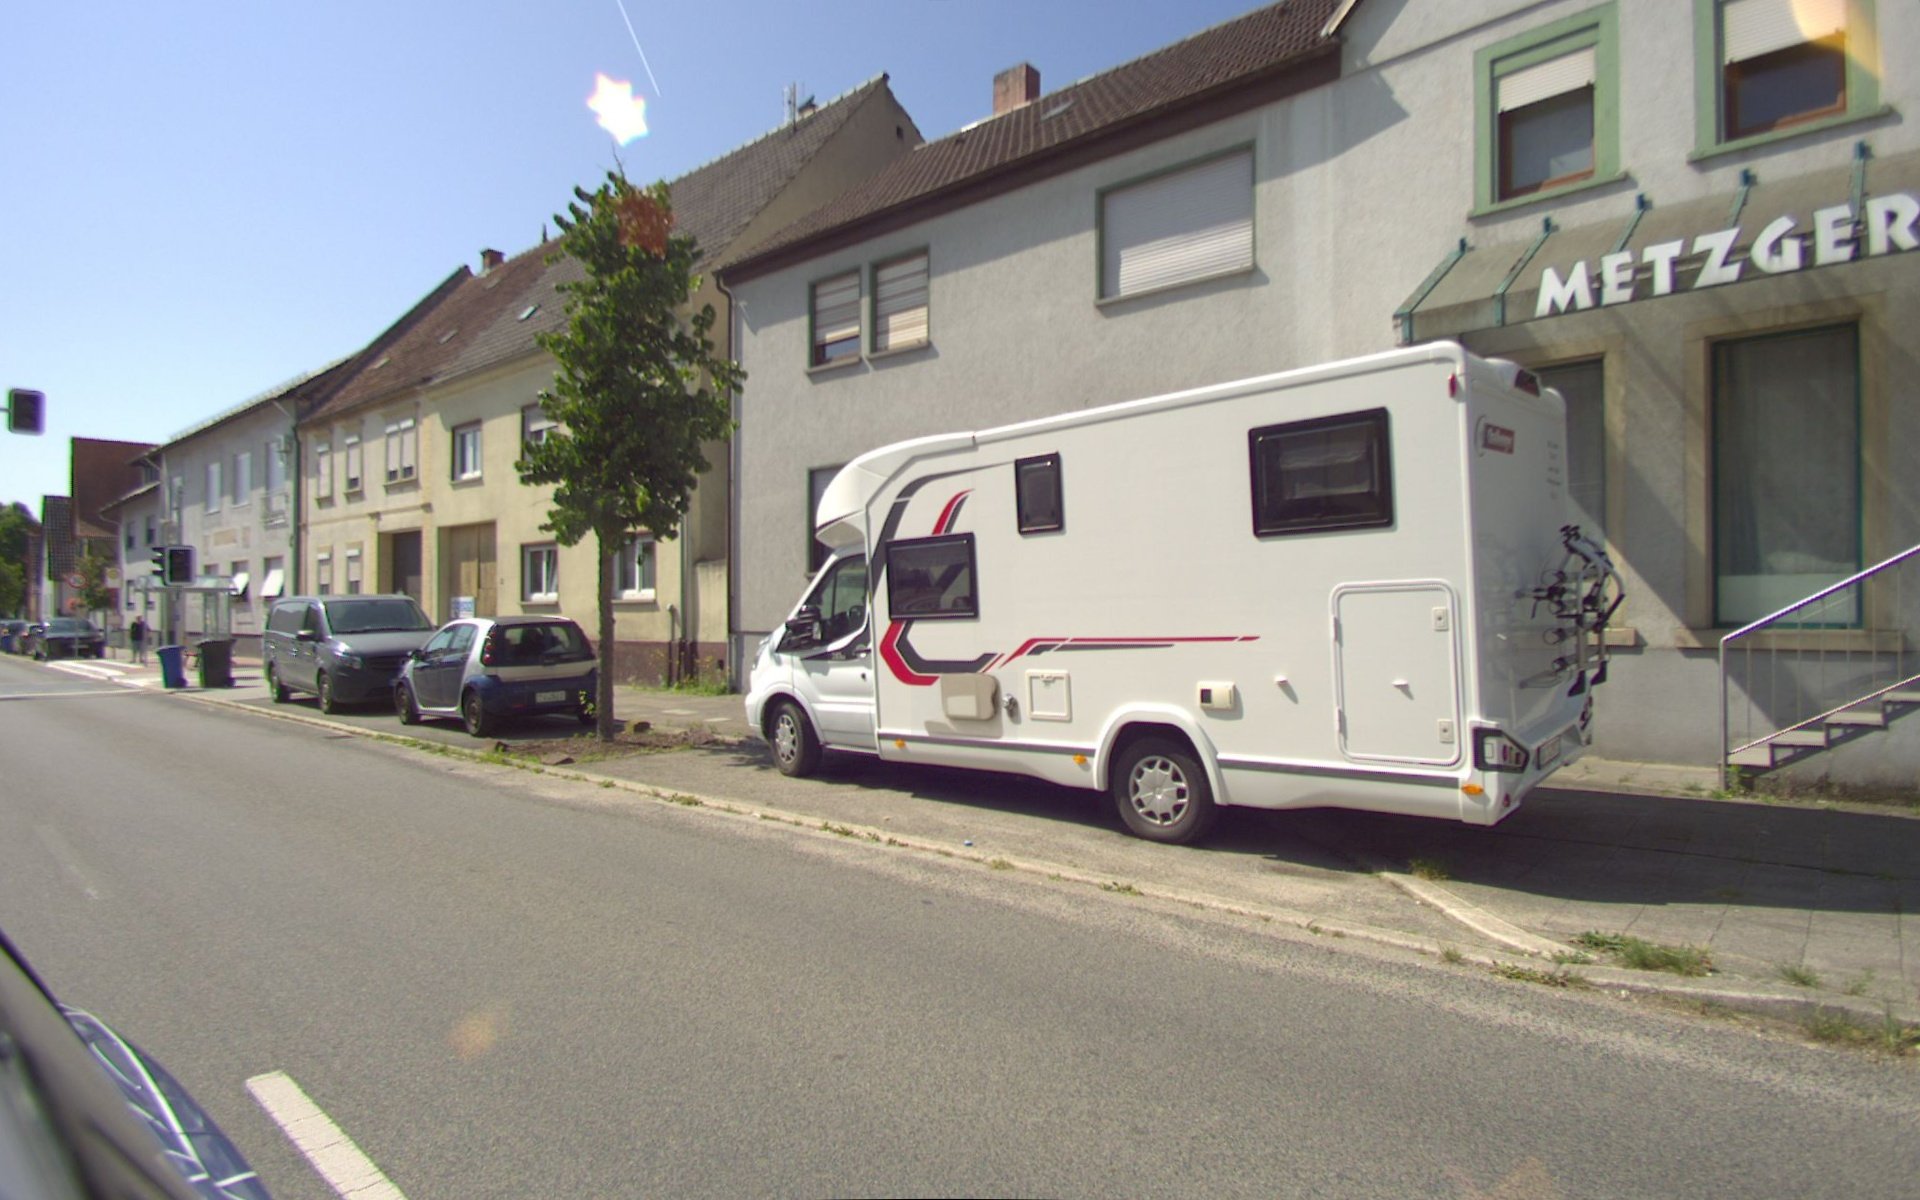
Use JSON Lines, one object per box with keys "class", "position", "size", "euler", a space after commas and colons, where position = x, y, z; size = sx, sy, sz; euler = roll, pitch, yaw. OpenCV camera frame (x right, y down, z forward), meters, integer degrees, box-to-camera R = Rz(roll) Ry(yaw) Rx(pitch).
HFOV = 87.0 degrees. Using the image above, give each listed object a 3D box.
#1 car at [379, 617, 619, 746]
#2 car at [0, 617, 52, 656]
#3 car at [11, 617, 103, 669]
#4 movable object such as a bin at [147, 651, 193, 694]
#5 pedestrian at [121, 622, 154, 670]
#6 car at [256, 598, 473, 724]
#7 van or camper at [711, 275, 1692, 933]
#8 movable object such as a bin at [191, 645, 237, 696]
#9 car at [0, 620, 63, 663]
{"class": "car", "position": [-6.299, 1.001, 13.670], "size": [3.617, 1.493, 1.667], "euler": [-2, -2, 42]}
{"class": "car", "position": [-46.450, 1.781, 50.041], "size": [4.957, 1.862, 1.971], "euler": [-2, -2, 44]}
{"class": "car", "position": [-35.316, 1.637, 39.530], "size": [4.957, 1.862, 2.323], "euler": [-2, -2, 44]}
{"class": "movable object such as a bin", "position": [-17.788, 1.633, 22.796], "size": [0.550, 0.919, 0.709], "euler": [-2, -2, 40]}
{"class": "pedestrian", "position": [-26.859, 1.492, 33.048], "size": [0.581, 1.543, 0.743], "euler": [-2, -2, 41]}
{"class": "car", "position": [-10.349, 0.961, 17.398], "size": [4.957, 1.862, 1.971], "euler": [-2, -2, 44]}
{"class": "van or camper", "position": [1.118, 0.094, 7.802], "size": [7.066, 2.927, 2.419], "euler": [-2, -2, 43]}
{"class": "movable object such as a bin", "position": [-16.439, 1.538, 22.304], "size": [0.550, 1.075, 0.709], "euler": [-2, -2, 40]}
{"class": "car", "position": [-42.516, 1.853, 46.189], "size": [4.957, 1.862, 1.971], "euler": [-2, -2, 44]}
